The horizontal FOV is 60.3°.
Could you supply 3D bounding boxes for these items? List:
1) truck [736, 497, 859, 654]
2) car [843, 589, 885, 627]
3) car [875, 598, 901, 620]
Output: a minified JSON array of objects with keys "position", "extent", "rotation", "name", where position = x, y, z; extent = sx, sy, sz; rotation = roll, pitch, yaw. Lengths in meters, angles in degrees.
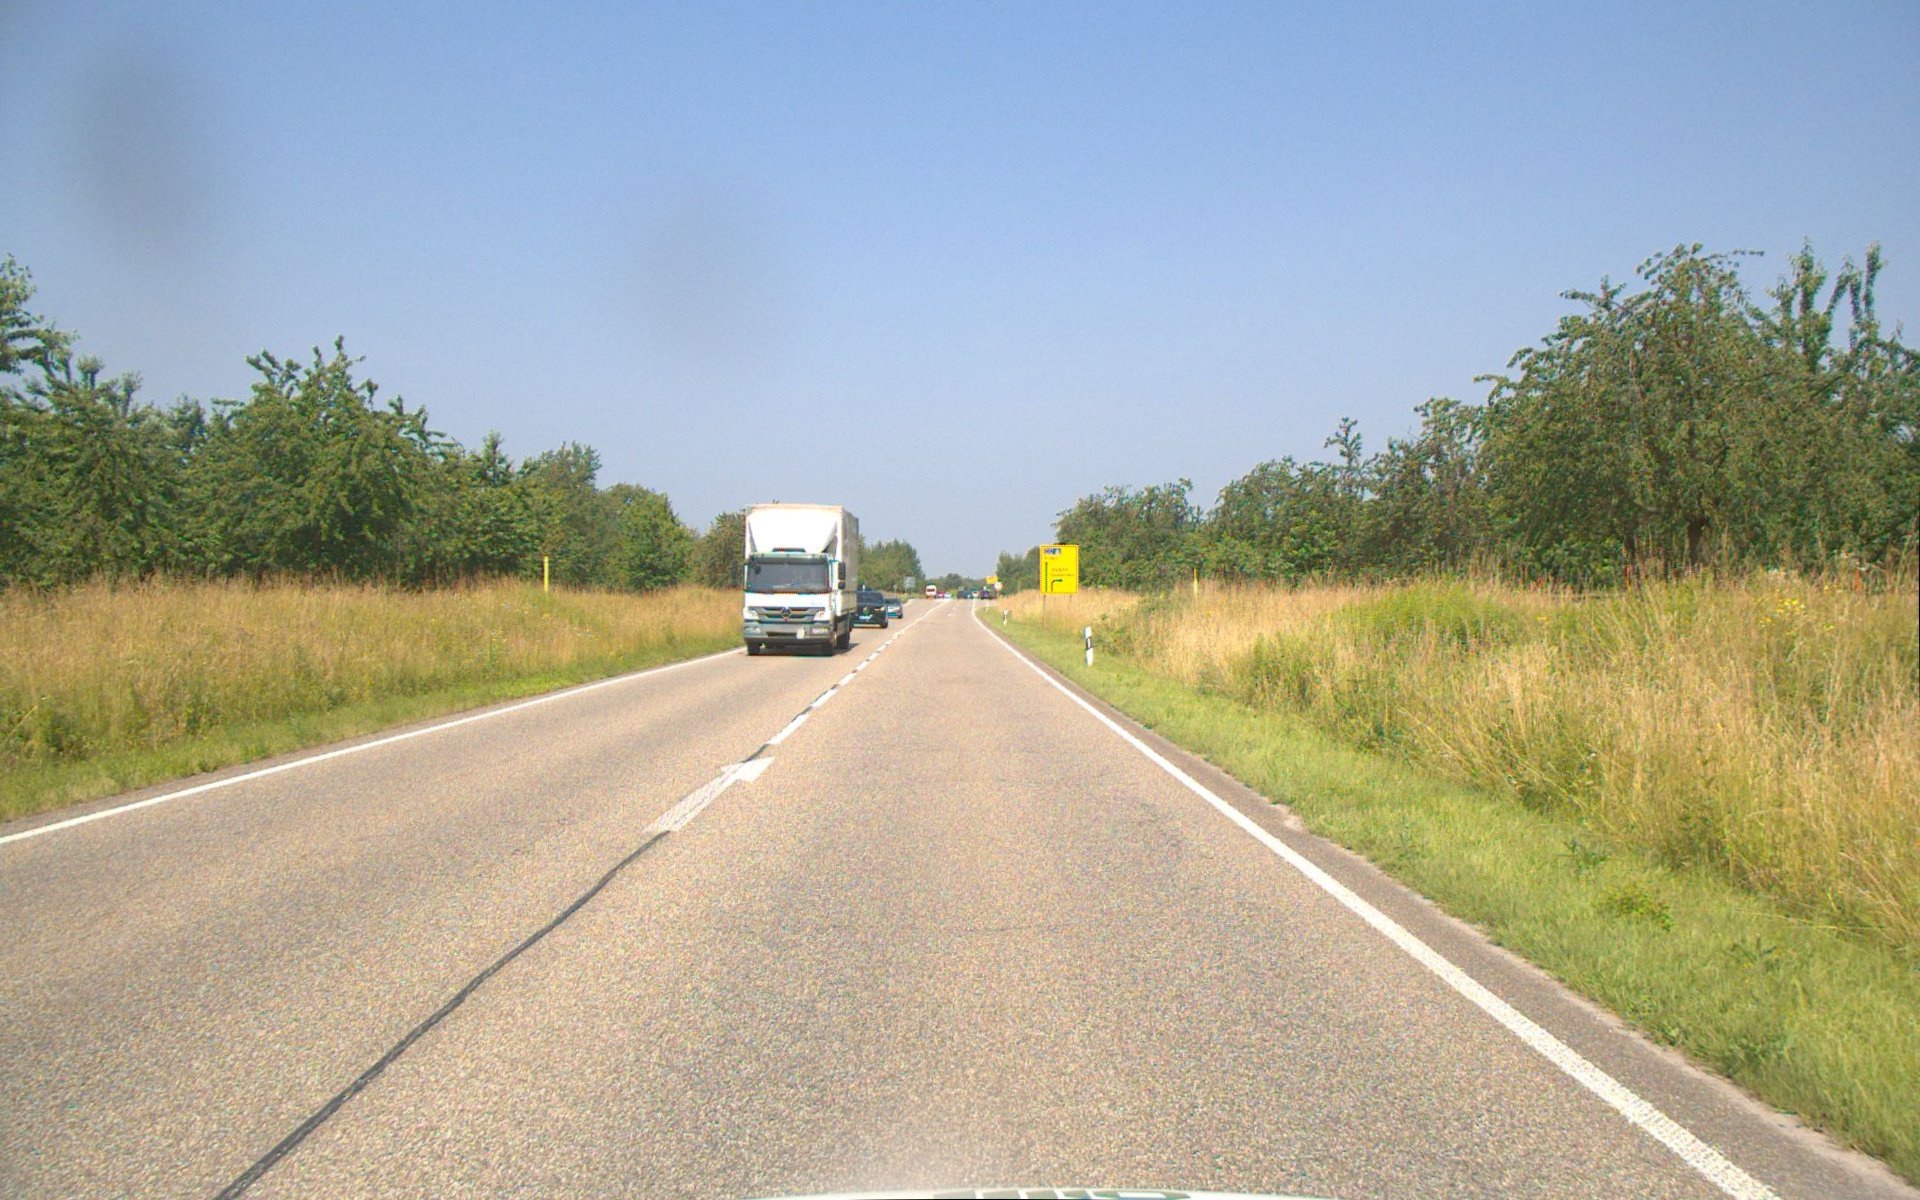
[{"position":[-4.353,-0.602,46.271],"extent":[2.610,3.906,10.206],"rotation":[0,0,-1],"name":"truck"},{"position":[-4.459,0.379,77.089],"extent":[1.799,1.707,4.409],"rotation":[0,0,-1],"name":"car"},{"position":[-4.856,0.616,112.133],"extent":[1.656,1.433,4.893],"rotation":[0,0,-1],"name":"car"}]
